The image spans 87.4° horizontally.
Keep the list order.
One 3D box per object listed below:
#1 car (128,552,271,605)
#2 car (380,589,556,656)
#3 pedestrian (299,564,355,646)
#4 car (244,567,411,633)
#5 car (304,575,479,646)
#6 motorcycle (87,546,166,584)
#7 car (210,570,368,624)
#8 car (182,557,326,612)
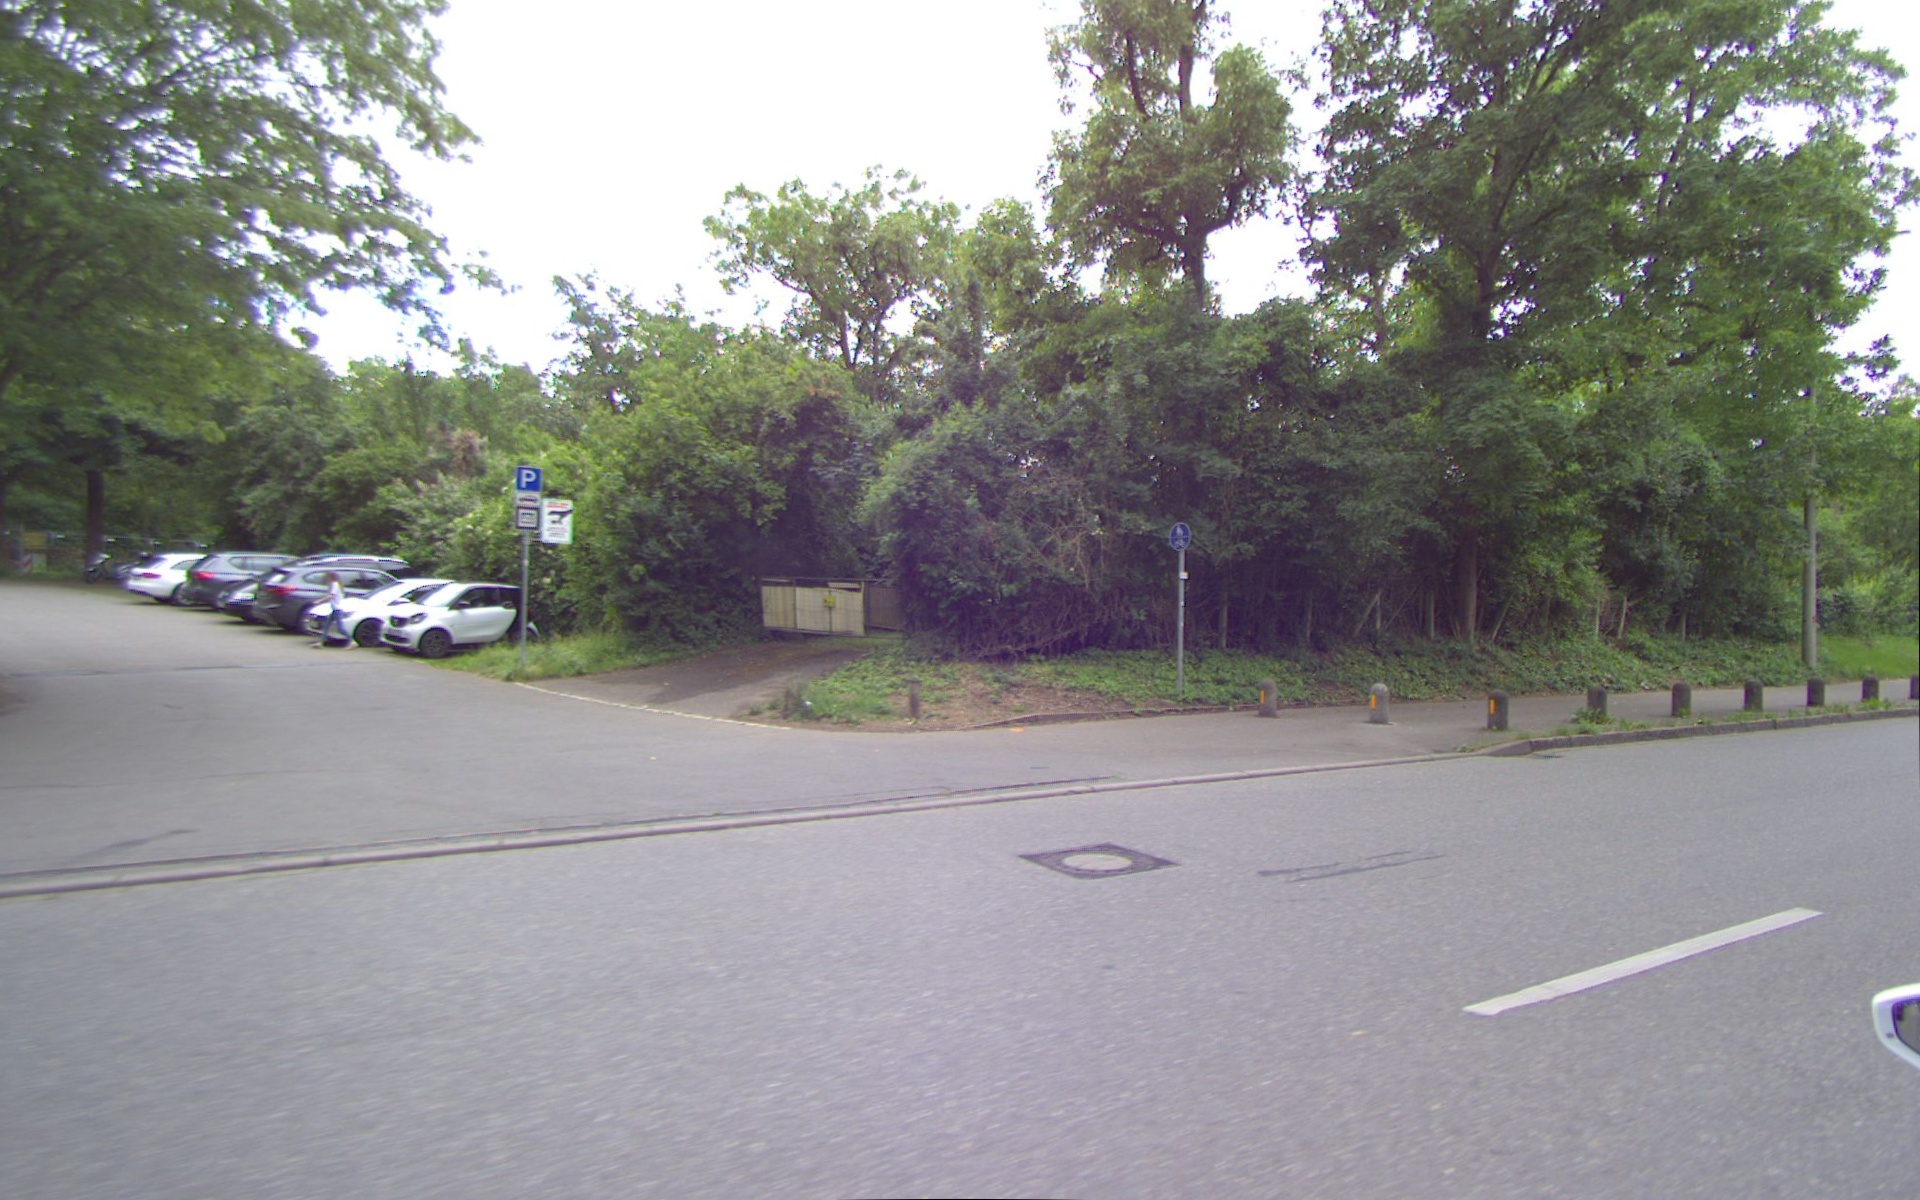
[{"bbox_3d":[-21.931,-0.603,29.047,1.247,1.387,3.058,3,1,38],"label":"car"},{"bbox_3d":[-10.375,0.465,21.336,1.354,1.255,3.058,3,1,38],"label":"car"},{"bbox_3d":[-12.934,0.101,20.534,0.463,1.632,0.827,2,0,38],"label":"pedestrian"},{"bbox_3d":[-14.843,0.010,23.677,1.354,1.420,3.058,3,1,38],"label":"car"},{"bbox_3d":[-12.419,0.226,22.060,1.354,1.420,3.058,3,1,38],"label":"car"},{"bbox_3d":[-31.240,-1.291,37.680,2.161,1.341,0.720,2,1,-30],"label":"motorcycle"},{"bbox_3d":[-16.706,-0.057,25.102,1.247,1.228,3.058,3,1,38],"label":"car"},{"bbox_3d":[-19.579,-0.407,27.937,1.247,1.379,3.058,3,1,38],"label":"car"}]
